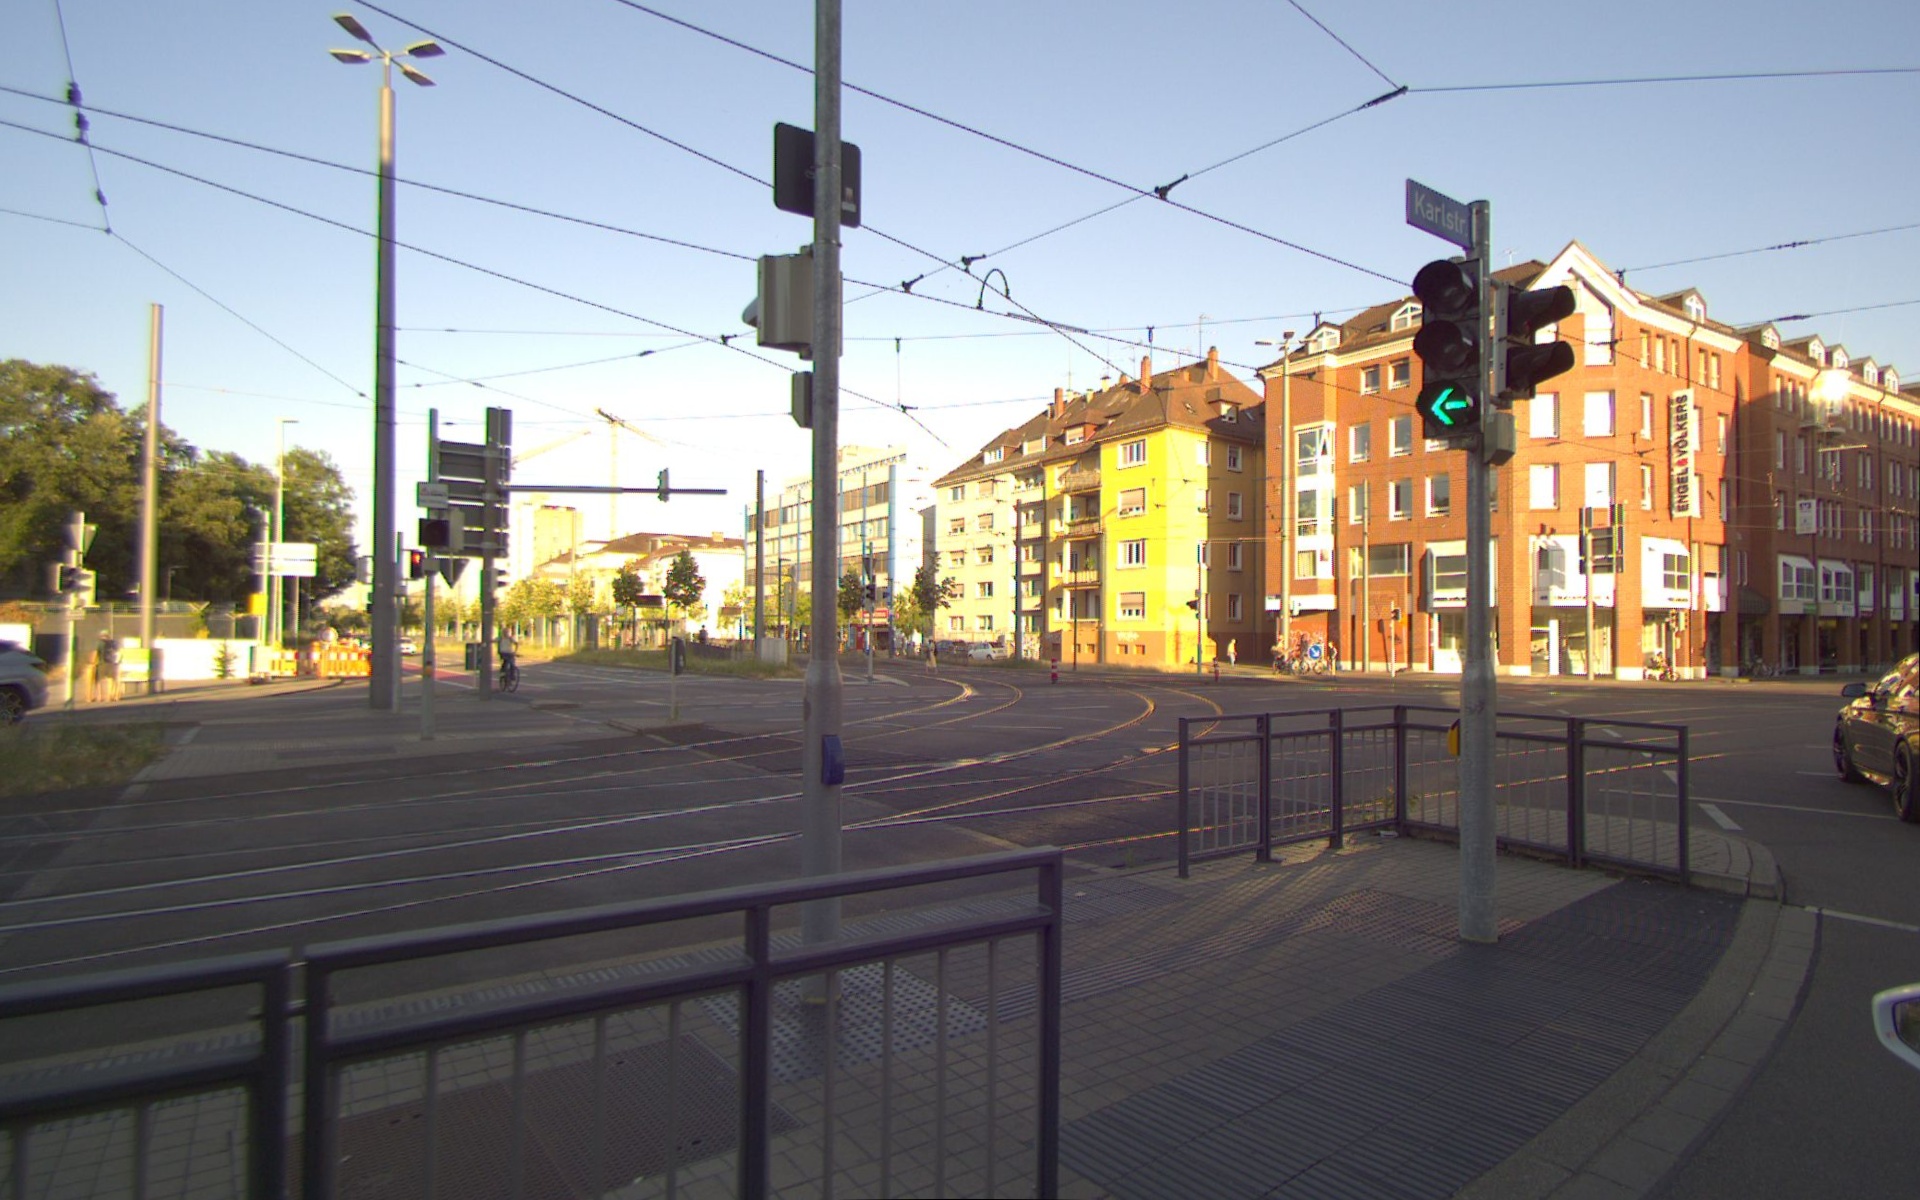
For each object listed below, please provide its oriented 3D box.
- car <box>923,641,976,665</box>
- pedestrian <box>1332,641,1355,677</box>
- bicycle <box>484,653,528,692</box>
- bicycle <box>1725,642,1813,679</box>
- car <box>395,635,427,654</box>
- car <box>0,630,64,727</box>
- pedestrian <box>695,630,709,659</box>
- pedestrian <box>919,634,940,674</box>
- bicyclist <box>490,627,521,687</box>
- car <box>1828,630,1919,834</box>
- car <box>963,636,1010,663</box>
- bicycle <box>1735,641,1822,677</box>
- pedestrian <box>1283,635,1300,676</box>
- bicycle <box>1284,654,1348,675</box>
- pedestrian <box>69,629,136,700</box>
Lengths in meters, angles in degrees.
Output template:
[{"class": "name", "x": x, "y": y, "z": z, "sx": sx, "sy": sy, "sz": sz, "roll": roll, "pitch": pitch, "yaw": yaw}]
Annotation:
[{"class": "car", "x": -0.850, "y": 4.212, "z": 79.915, "sx": 2.099, "sy": 1.727, "sz": 4.306, "roll": 3, "pitch": -3, "yaw": -36}, {"class": "pedestrian", "x": 19.428, "y": 2.973, "z": 50.861, "sx": 0.705, "sy": 1.817, "sz": 0.862, "roll": 2, "pitch": -3, "yaw": -42}, {"class": "bicycle", "x": -12.966, "y": 2.057, "z": 28.669, "sx": 0.592, "sy": 1.036, "sz": 1.824, "roll": 2, "pitch": -3, "yaw": -42}, {"class": "bicycle", "x": 40.826, "y": 3.034, "z": 50.749, "sx": 1.057, "sy": 1.748, "sz": 3.281, "roll": 1, "pitch": -2, "yaw": -30}, {"class": "car", "x": -42.783, "y": 3.433, "z": 78.355, "sx": 1.890, "sy": 1.424, "sz": 4.279, "roll": 0, "pitch": -2, "yaw": -25}, {"class": "car", "x": -17.934, "y": 1.314, "z": 16.446, "sx": 1.910, "sy": 1.682, "sz": 4.538, "roll": 0, "pitch": -2, "yaw": 16}, {"class": "pedestrian", "x": -14.116, "y": 2.435, "z": 54.978, "sx": 0.559, "sy": 1.612, "sz": 0.685, "roll": 1, "pitch": -2, "yaw": -31}, {"class": "pedestrian", "x": -1.201, "y": 2.145, "z": 39.962, "sx": 0.696, "sy": 1.561, "sz": 0.634, "roll": 1, "pitch": -2, "yaw": -18}, {"class": "bicyclist", "x": -12.984, "y": 1.620, "z": 28.704, "sx": 0.592, "sy": 1.693, "sz": 0.739, "roll": 2, "pitch": -2, "yaw": -43}, {"class": "car", "x": 9.142, "y": 1.066, "z": 8.762, "sx": 1.816, "sy": 1.515, "sz": 4.280, "roll": 2, "pitch": 0, "yaw": 34}, {"class": "car", "x": 1.965, "y": 3.693, "z": 75.495, "sx": 1.722, "sy": 1.439, "sz": 3.507, "roll": 0, "pitch": 8, "yaw": -36}, {"class": "bicycle", "x": 41.814, "y": 2.998, "z": 51.353, "sx": 1.057, "sy": 1.748, "sz": 3.280, "roll": 1, "pitch": -2, "yaw": -32}, {"class": "pedestrian", "x": 13.882, "y": 2.322, "z": 42.078, "sx": 0.415, "sy": 1.730, "sz": 0.511, "roll": 2, "pitch": -2, "yaw": -33}, {"class": "bicycle", "x": 18.048, "y": 3.262, "z": 51.035, "sx": 0.924, "sy": 1.030, "sz": 3.028, "roll": 2, "pitch": -3, "yaw": -40}, {"class": "pedestrian", "x": -21.664, "y": 1.613, "z": 25.391, "sx": 0.805, "sy": 1.758, "sz": 0.944, "roll": 0, "pitch": -2, "yaw": 14}]
